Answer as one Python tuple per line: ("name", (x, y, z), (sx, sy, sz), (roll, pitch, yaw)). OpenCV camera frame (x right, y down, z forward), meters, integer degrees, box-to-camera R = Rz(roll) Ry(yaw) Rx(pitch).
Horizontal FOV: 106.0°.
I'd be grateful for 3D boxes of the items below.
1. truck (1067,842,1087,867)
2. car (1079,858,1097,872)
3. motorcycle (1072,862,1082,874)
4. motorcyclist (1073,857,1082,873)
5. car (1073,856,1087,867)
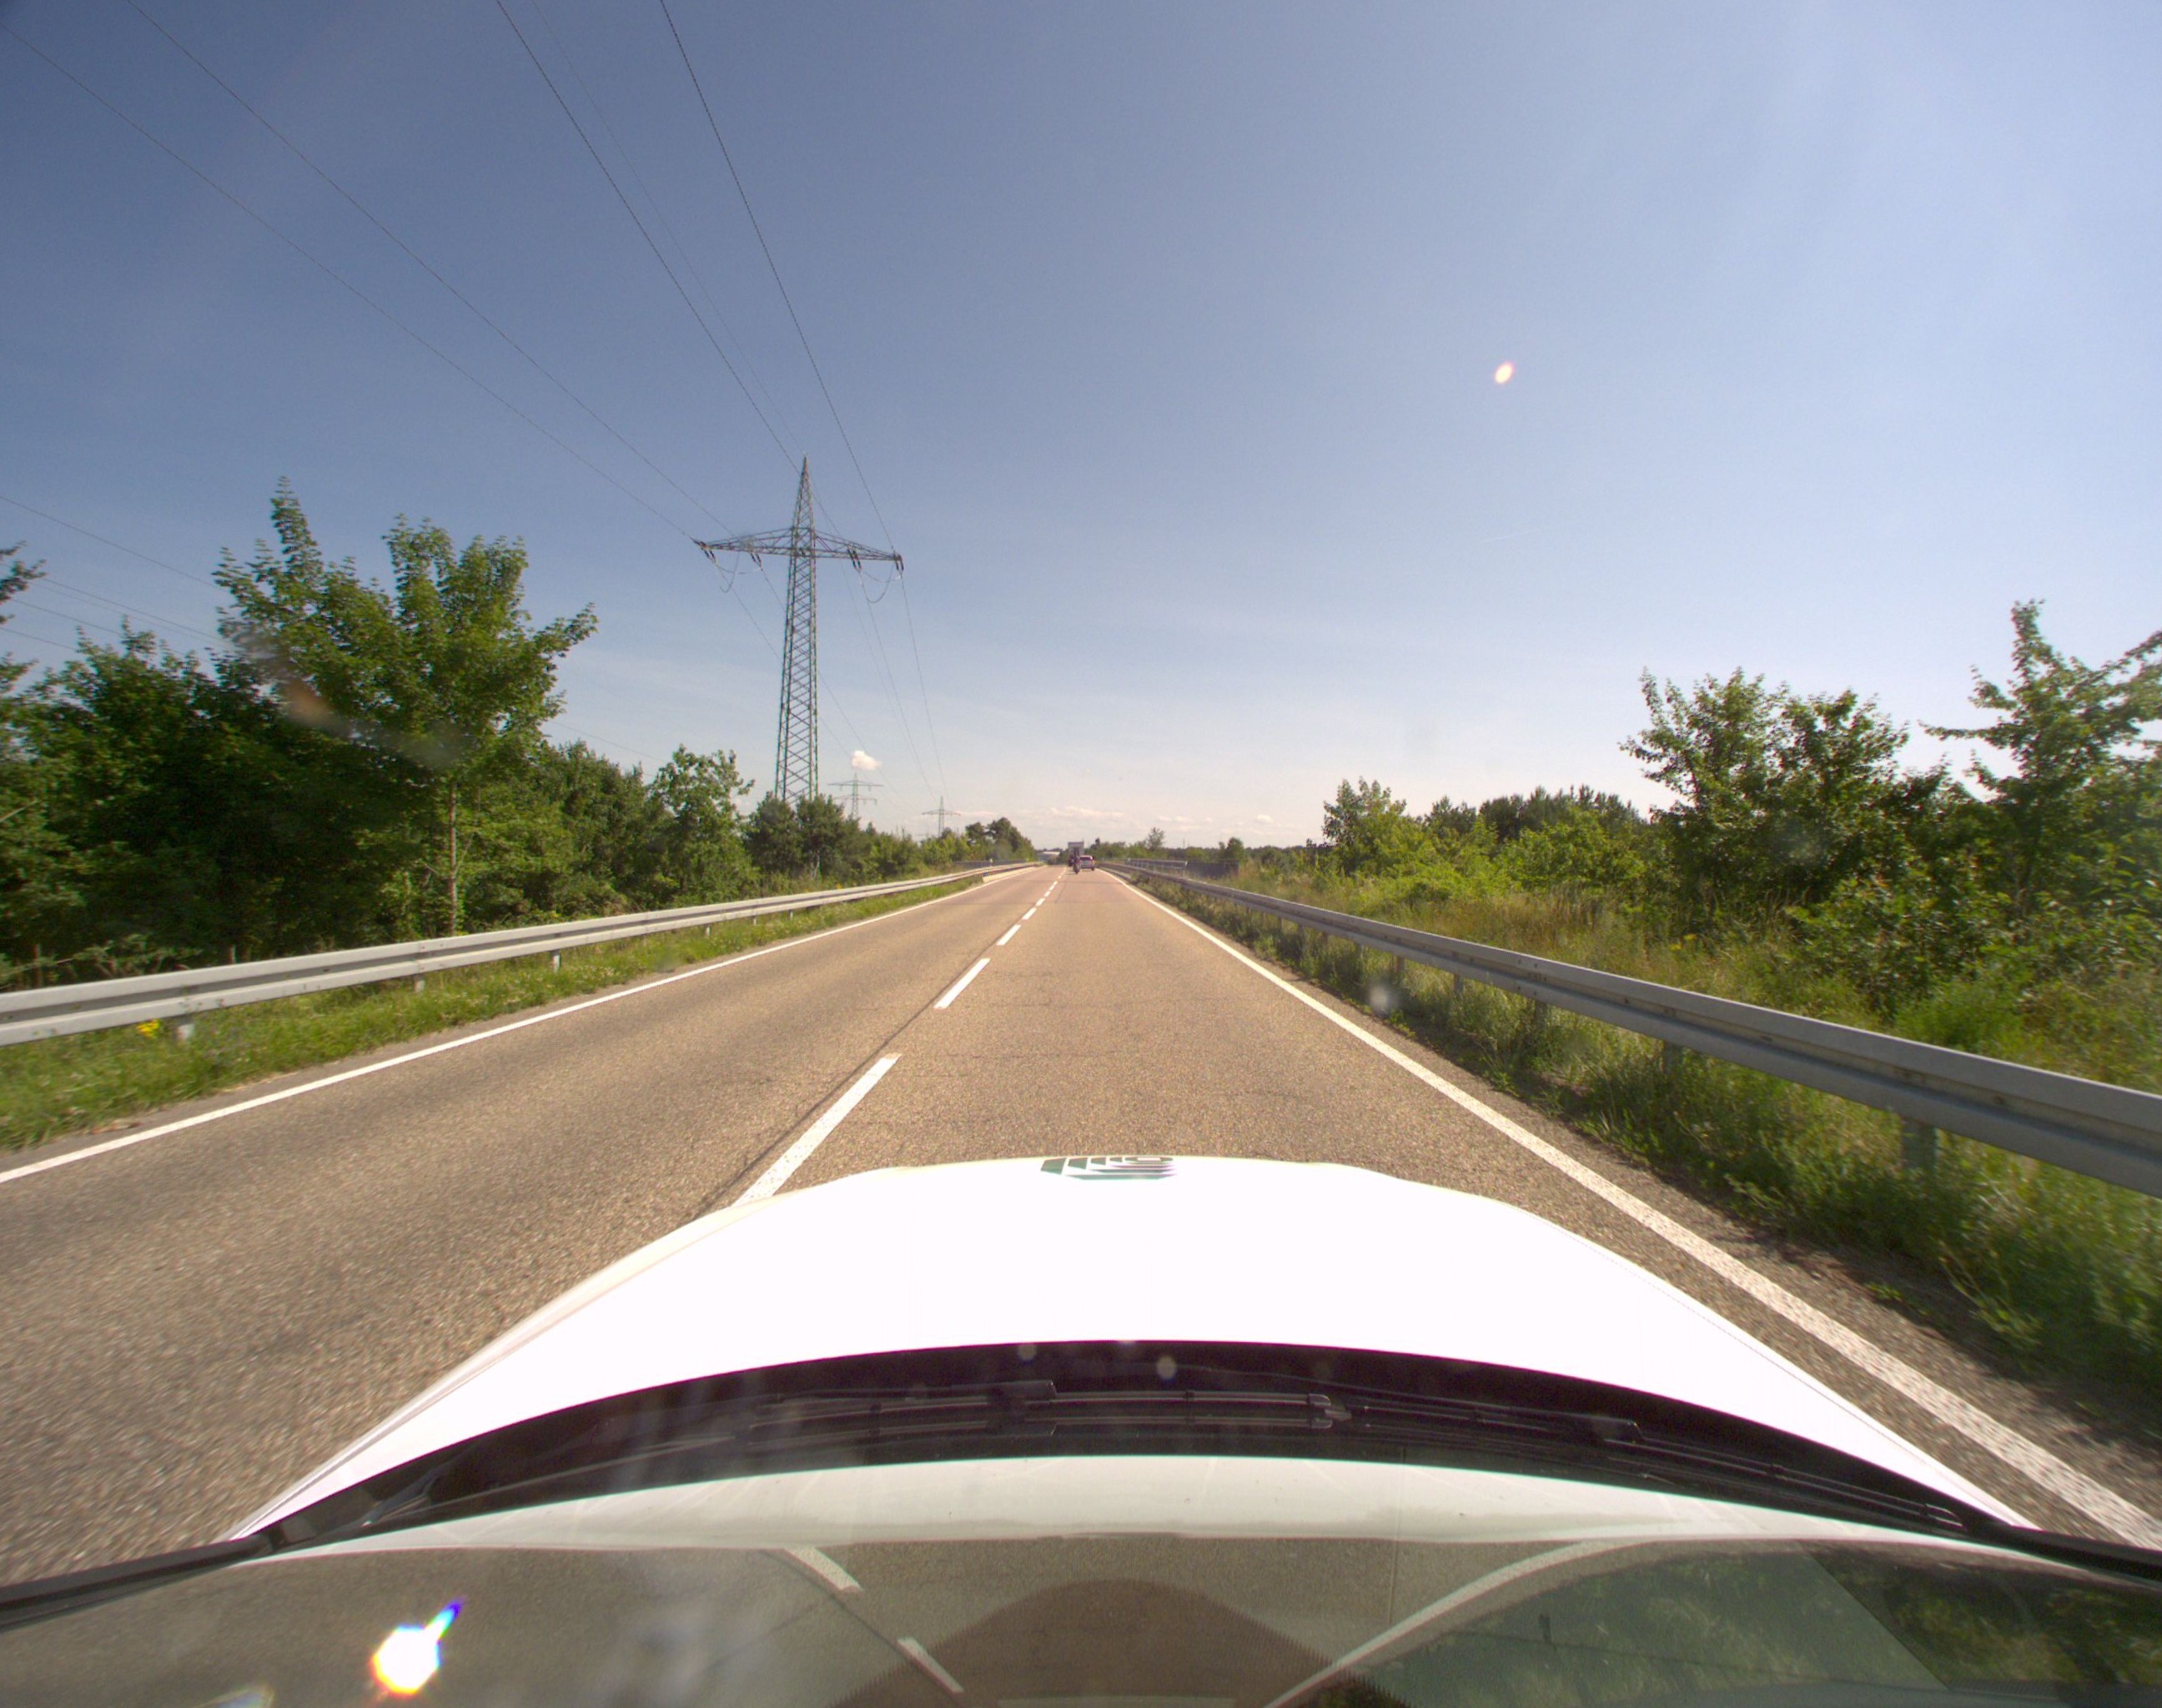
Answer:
("truck", (-0.564, 0.095, 137.296), (3.231, 3.979, 9.442), (0, 0, 0))
("car", (0.696, 1.150, 85.229), (1.819, 1.451, 4.000), (0, 0, 0))
("motorcycle", (-0.315, 1.169, 68.413), (0.777, 0.975, 2.362), (0, 0, 1))
("motorcyclist", (-0.306, 0.942, 68.433), (0.777, 1.325, 0.813), (0, 0, 1))
("car", (-0.124, 0.961, 110.610), (1.859, 1.420, 4.000), (0, 0, 1))
